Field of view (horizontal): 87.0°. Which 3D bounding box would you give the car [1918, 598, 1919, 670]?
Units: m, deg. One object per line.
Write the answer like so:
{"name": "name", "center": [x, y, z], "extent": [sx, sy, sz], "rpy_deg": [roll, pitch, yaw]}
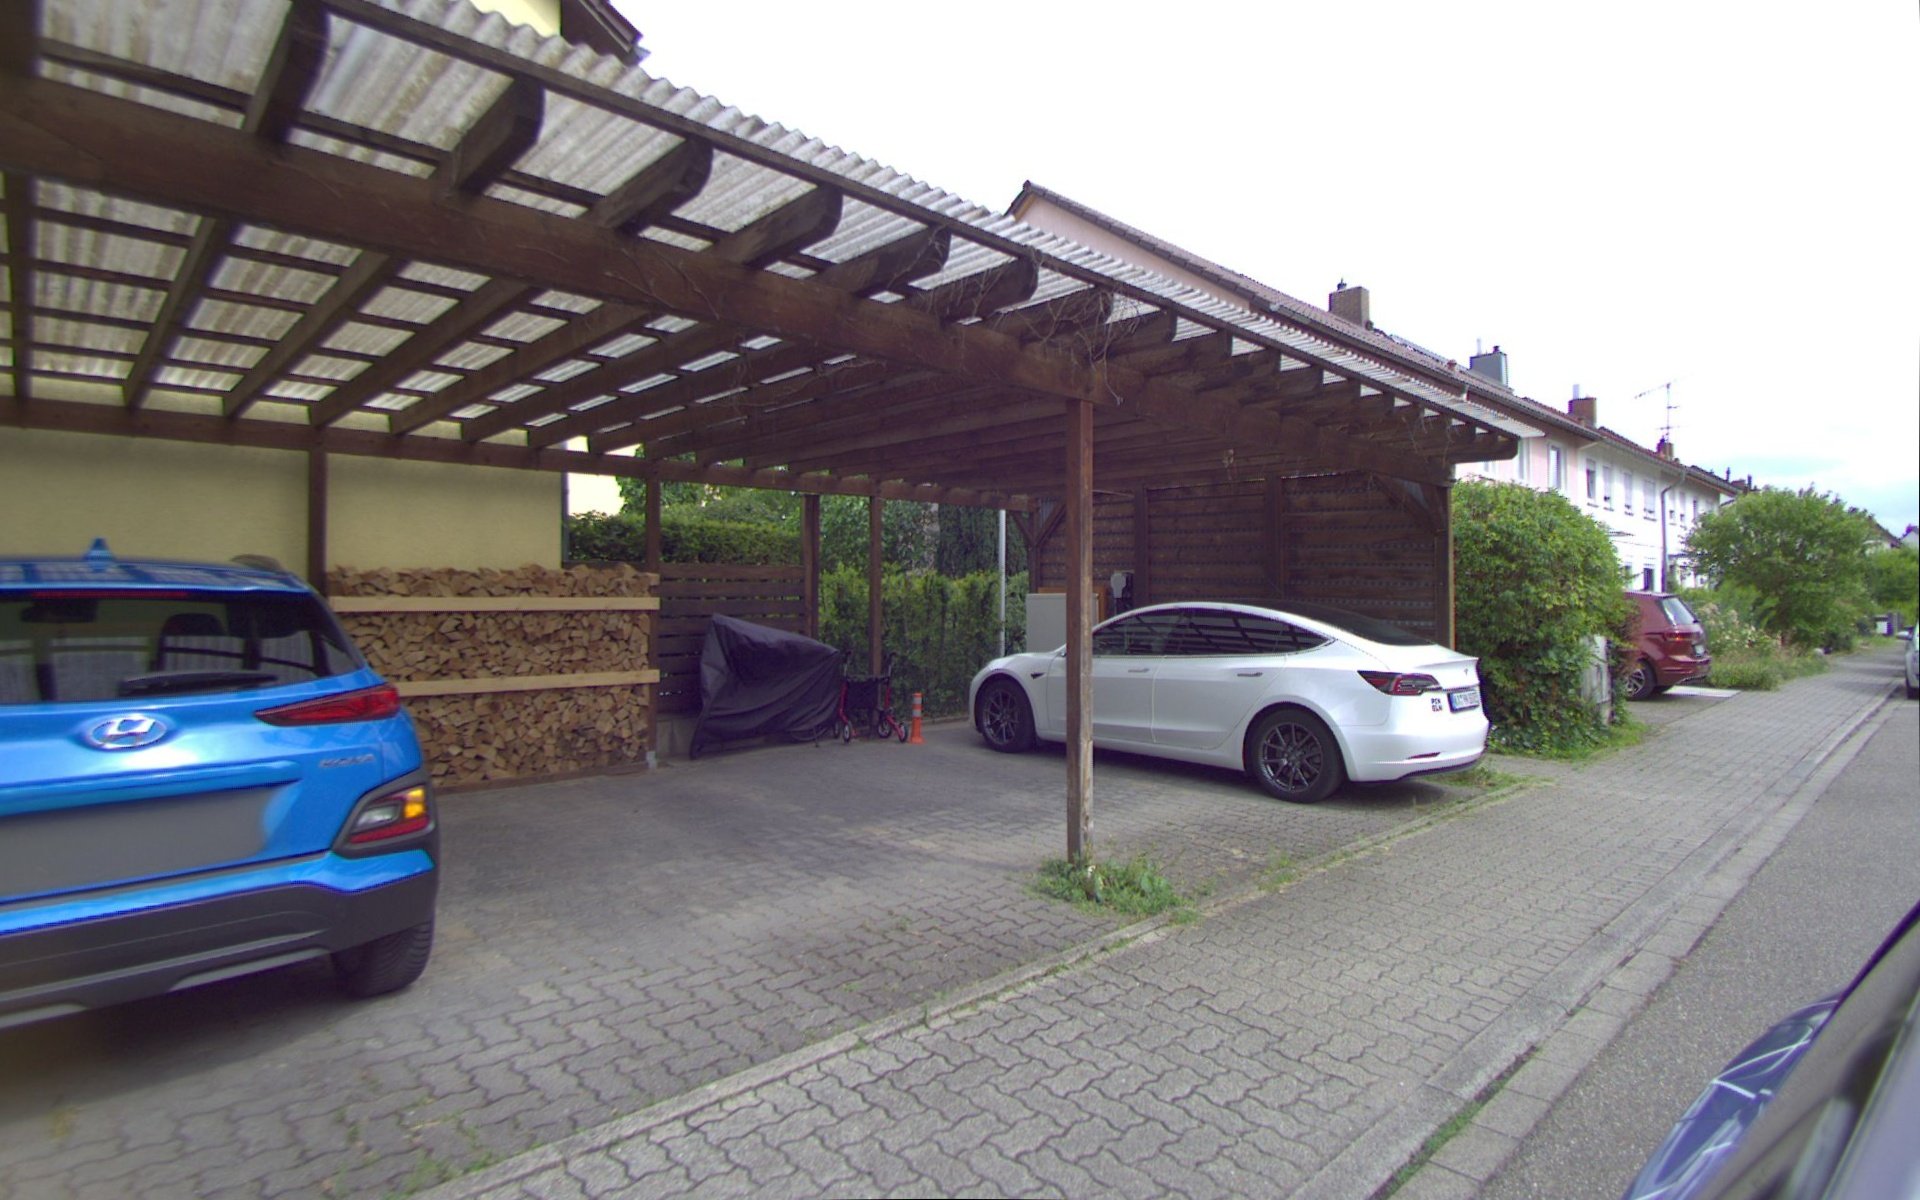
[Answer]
{"name": "car", "center": [20.251, 0.647, 19.942], "extent": [4.193, 1.373, 1.774], "rpy_deg": [0, 0, -43]}

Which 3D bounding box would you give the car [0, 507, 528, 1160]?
{"name": "car", "center": [-3.512, 0.543, 4.019], "extent": [4.046, 1.542, 1.919], "rpy_deg": [0, 0, 44]}

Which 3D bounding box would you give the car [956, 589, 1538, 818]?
{"name": "car", "center": [2.227, 0.648, 8.729], "extent": [1.994, 1.451, 4.452], "rpy_deg": [0, 0, -45]}

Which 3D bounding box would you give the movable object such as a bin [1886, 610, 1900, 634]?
{"name": "movable object such as a bin", "center": [36.568, 0.875, 39.672], "extent": [0.407, 0.933, 0.414], "rpy_deg": [0, -1, 42]}

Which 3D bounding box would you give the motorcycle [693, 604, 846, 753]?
{"name": "motorcycle", "center": [-1.689, 0.664, 9.150], "extent": [0.352, 1.247, 1.457], "rpy_deg": [-1, -1, 41]}

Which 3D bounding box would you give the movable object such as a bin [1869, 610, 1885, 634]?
{"name": "movable object such as a bin", "center": [36.288, 0.876, 40.033], "extent": [0.431, 0.933, 0.458], "rpy_deg": [-3, -2, 42]}

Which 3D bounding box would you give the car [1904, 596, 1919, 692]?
{"name": "car", "center": [16.394, 0.656, 16.151], "extent": [1.864, 1.435, 4.185], "rpy_deg": [-1, -1, 44]}

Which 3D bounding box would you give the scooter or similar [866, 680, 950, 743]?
{"name": "scooter or similar", "center": [-0.517, 1.077, 9.889], "extent": [0.335, 0.524, 0.861], "rpy_deg": [1, -1, -45]}

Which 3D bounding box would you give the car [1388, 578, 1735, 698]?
{"name": "car", "center": [9.124, 0.484, 15.618], "extent": [1.902, 1.580, 4.275], "rpy_deg": [0, 0, -42]}

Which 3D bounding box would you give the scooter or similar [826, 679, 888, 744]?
{"name": "scooter or similar", "center": [-0.974, 1.042, 9.562], "extent": [0.233, 0.558, 0.641], "rpy_deg": [1, -1, -45]}

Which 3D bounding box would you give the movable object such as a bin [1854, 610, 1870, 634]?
{"name": "movable object such as a bin", "center": [35.955, 0.877, 40.350], "extent": [0.431, 0.933, 0.458], "rpy_deg": [-3, -2, 42]}
